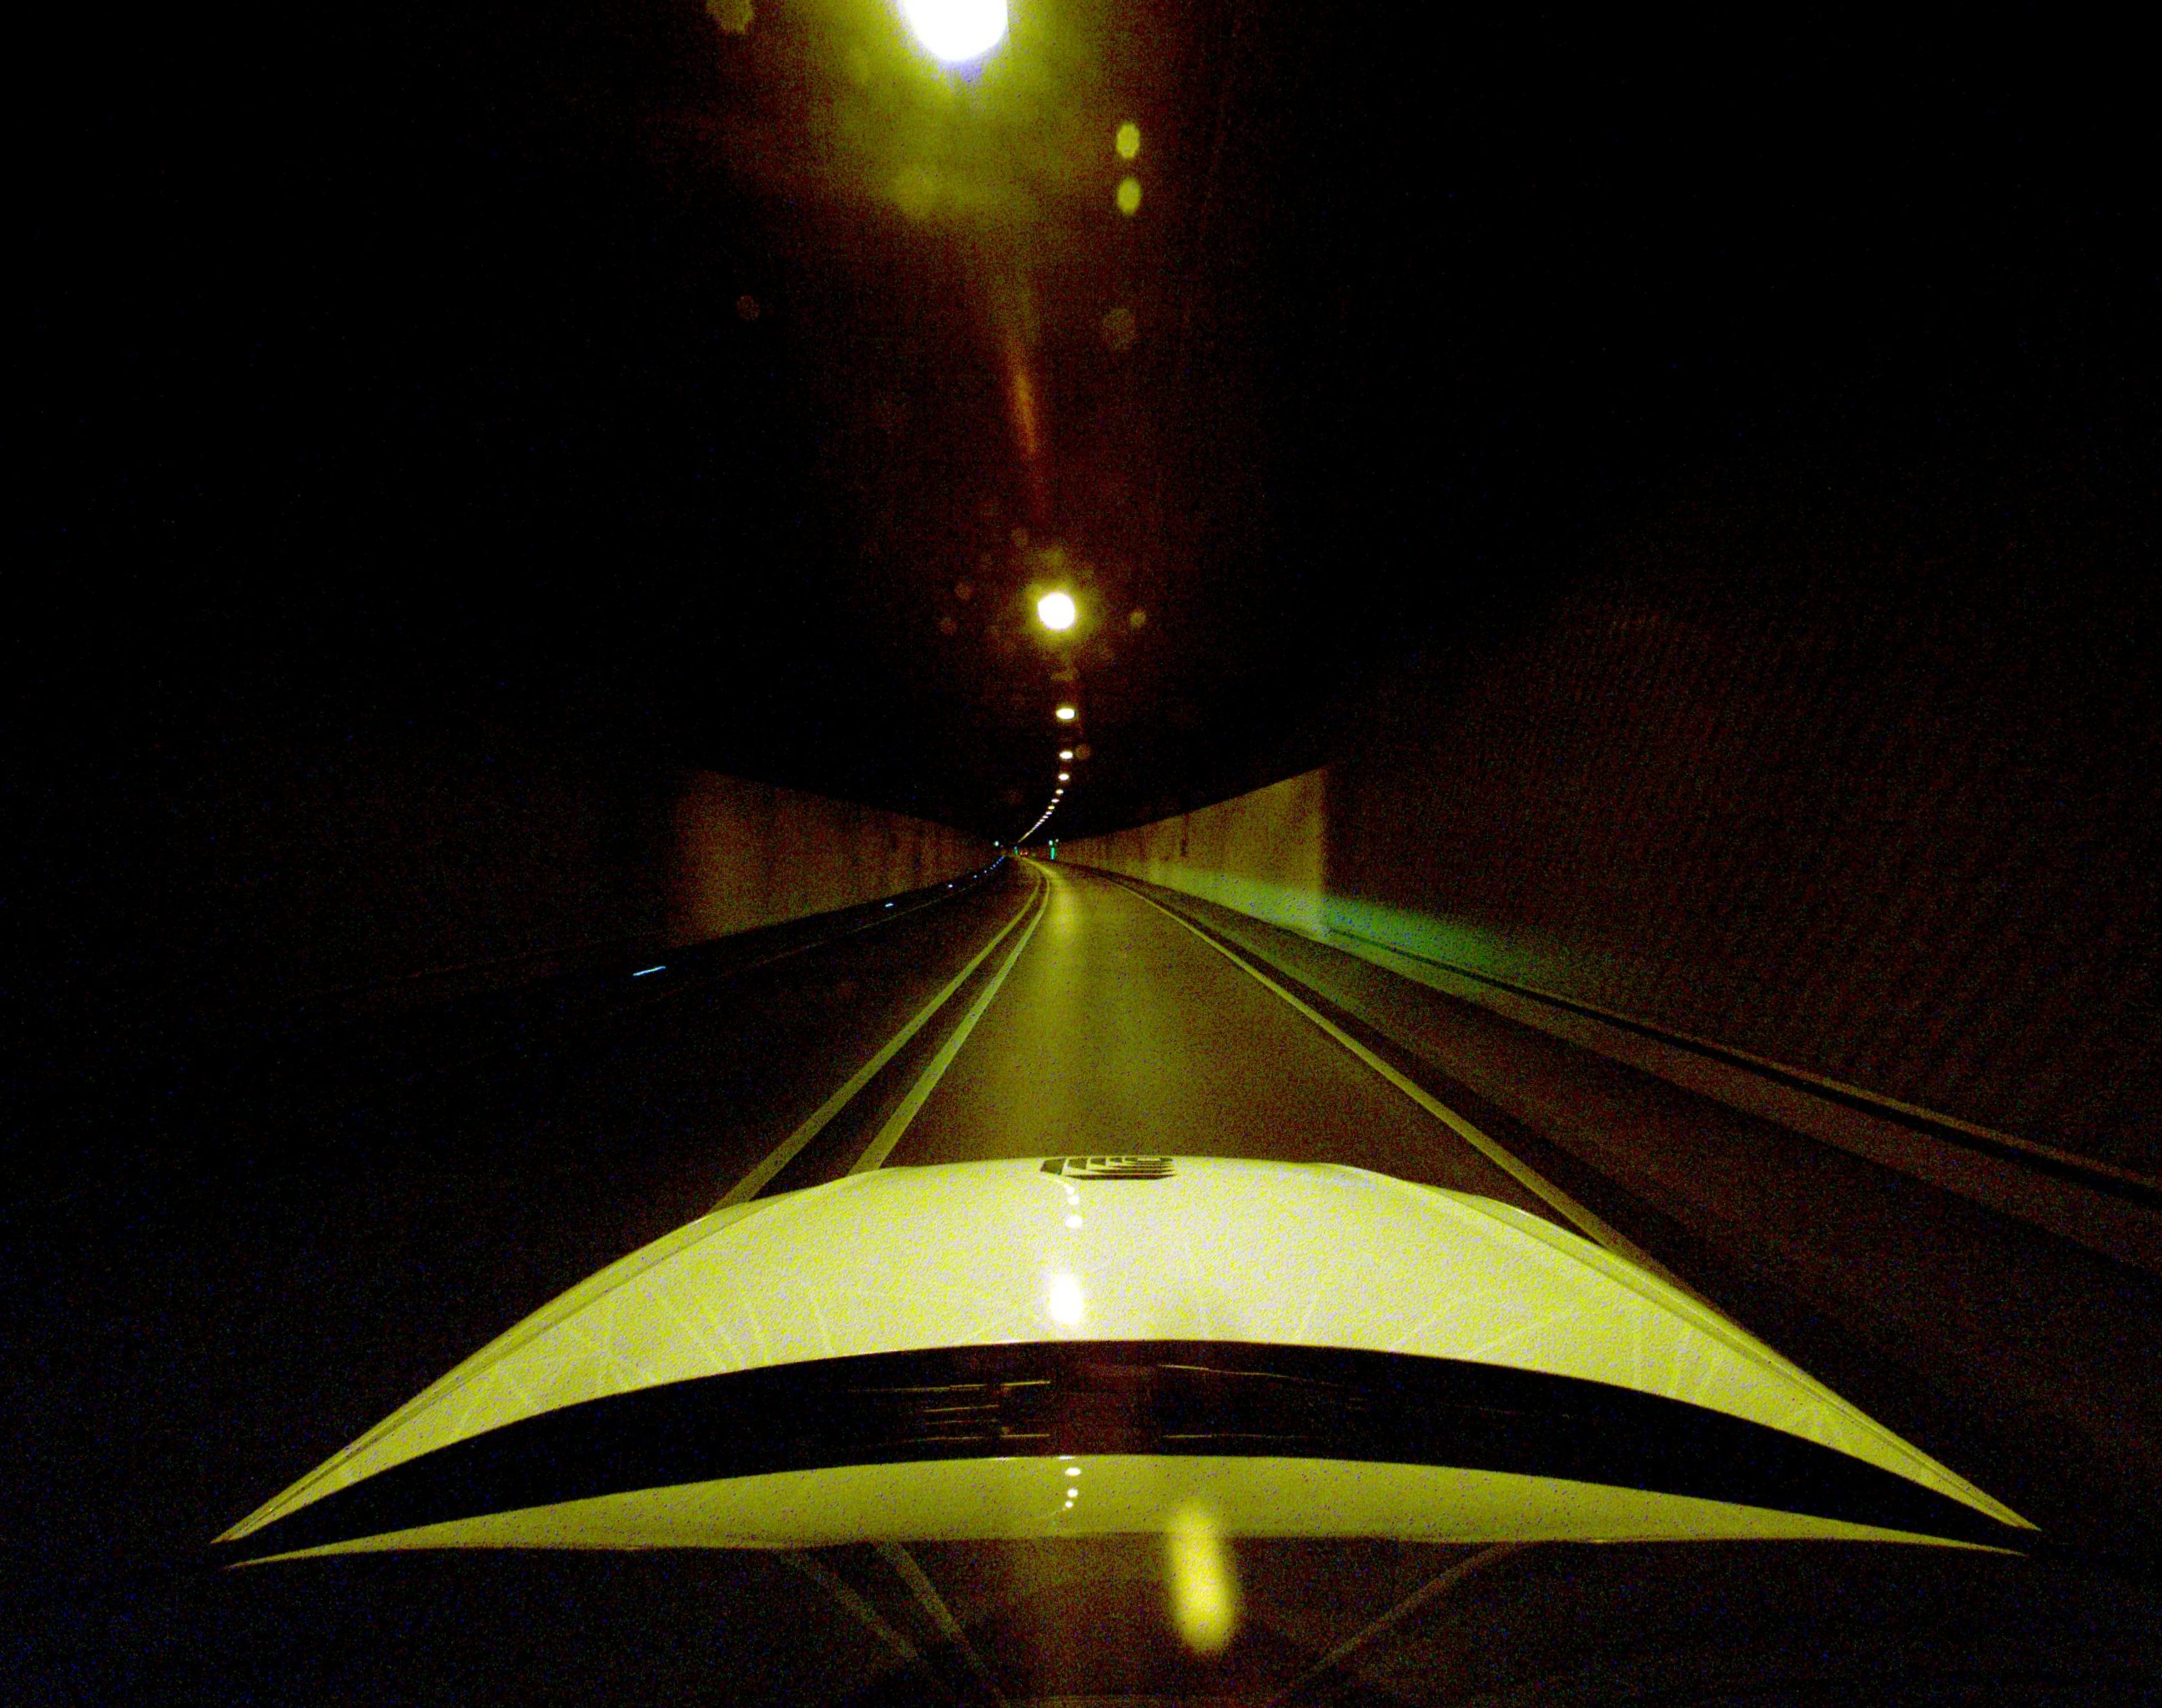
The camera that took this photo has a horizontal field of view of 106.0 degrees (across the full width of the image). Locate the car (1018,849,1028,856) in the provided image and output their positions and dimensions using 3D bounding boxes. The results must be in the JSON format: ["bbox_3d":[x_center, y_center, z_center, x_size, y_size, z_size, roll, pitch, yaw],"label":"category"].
[{"bbox_3d":[-15.268,-0.352,214.167,1.968,1.939,4.594,1,-1,-12],"label":"car"}]
